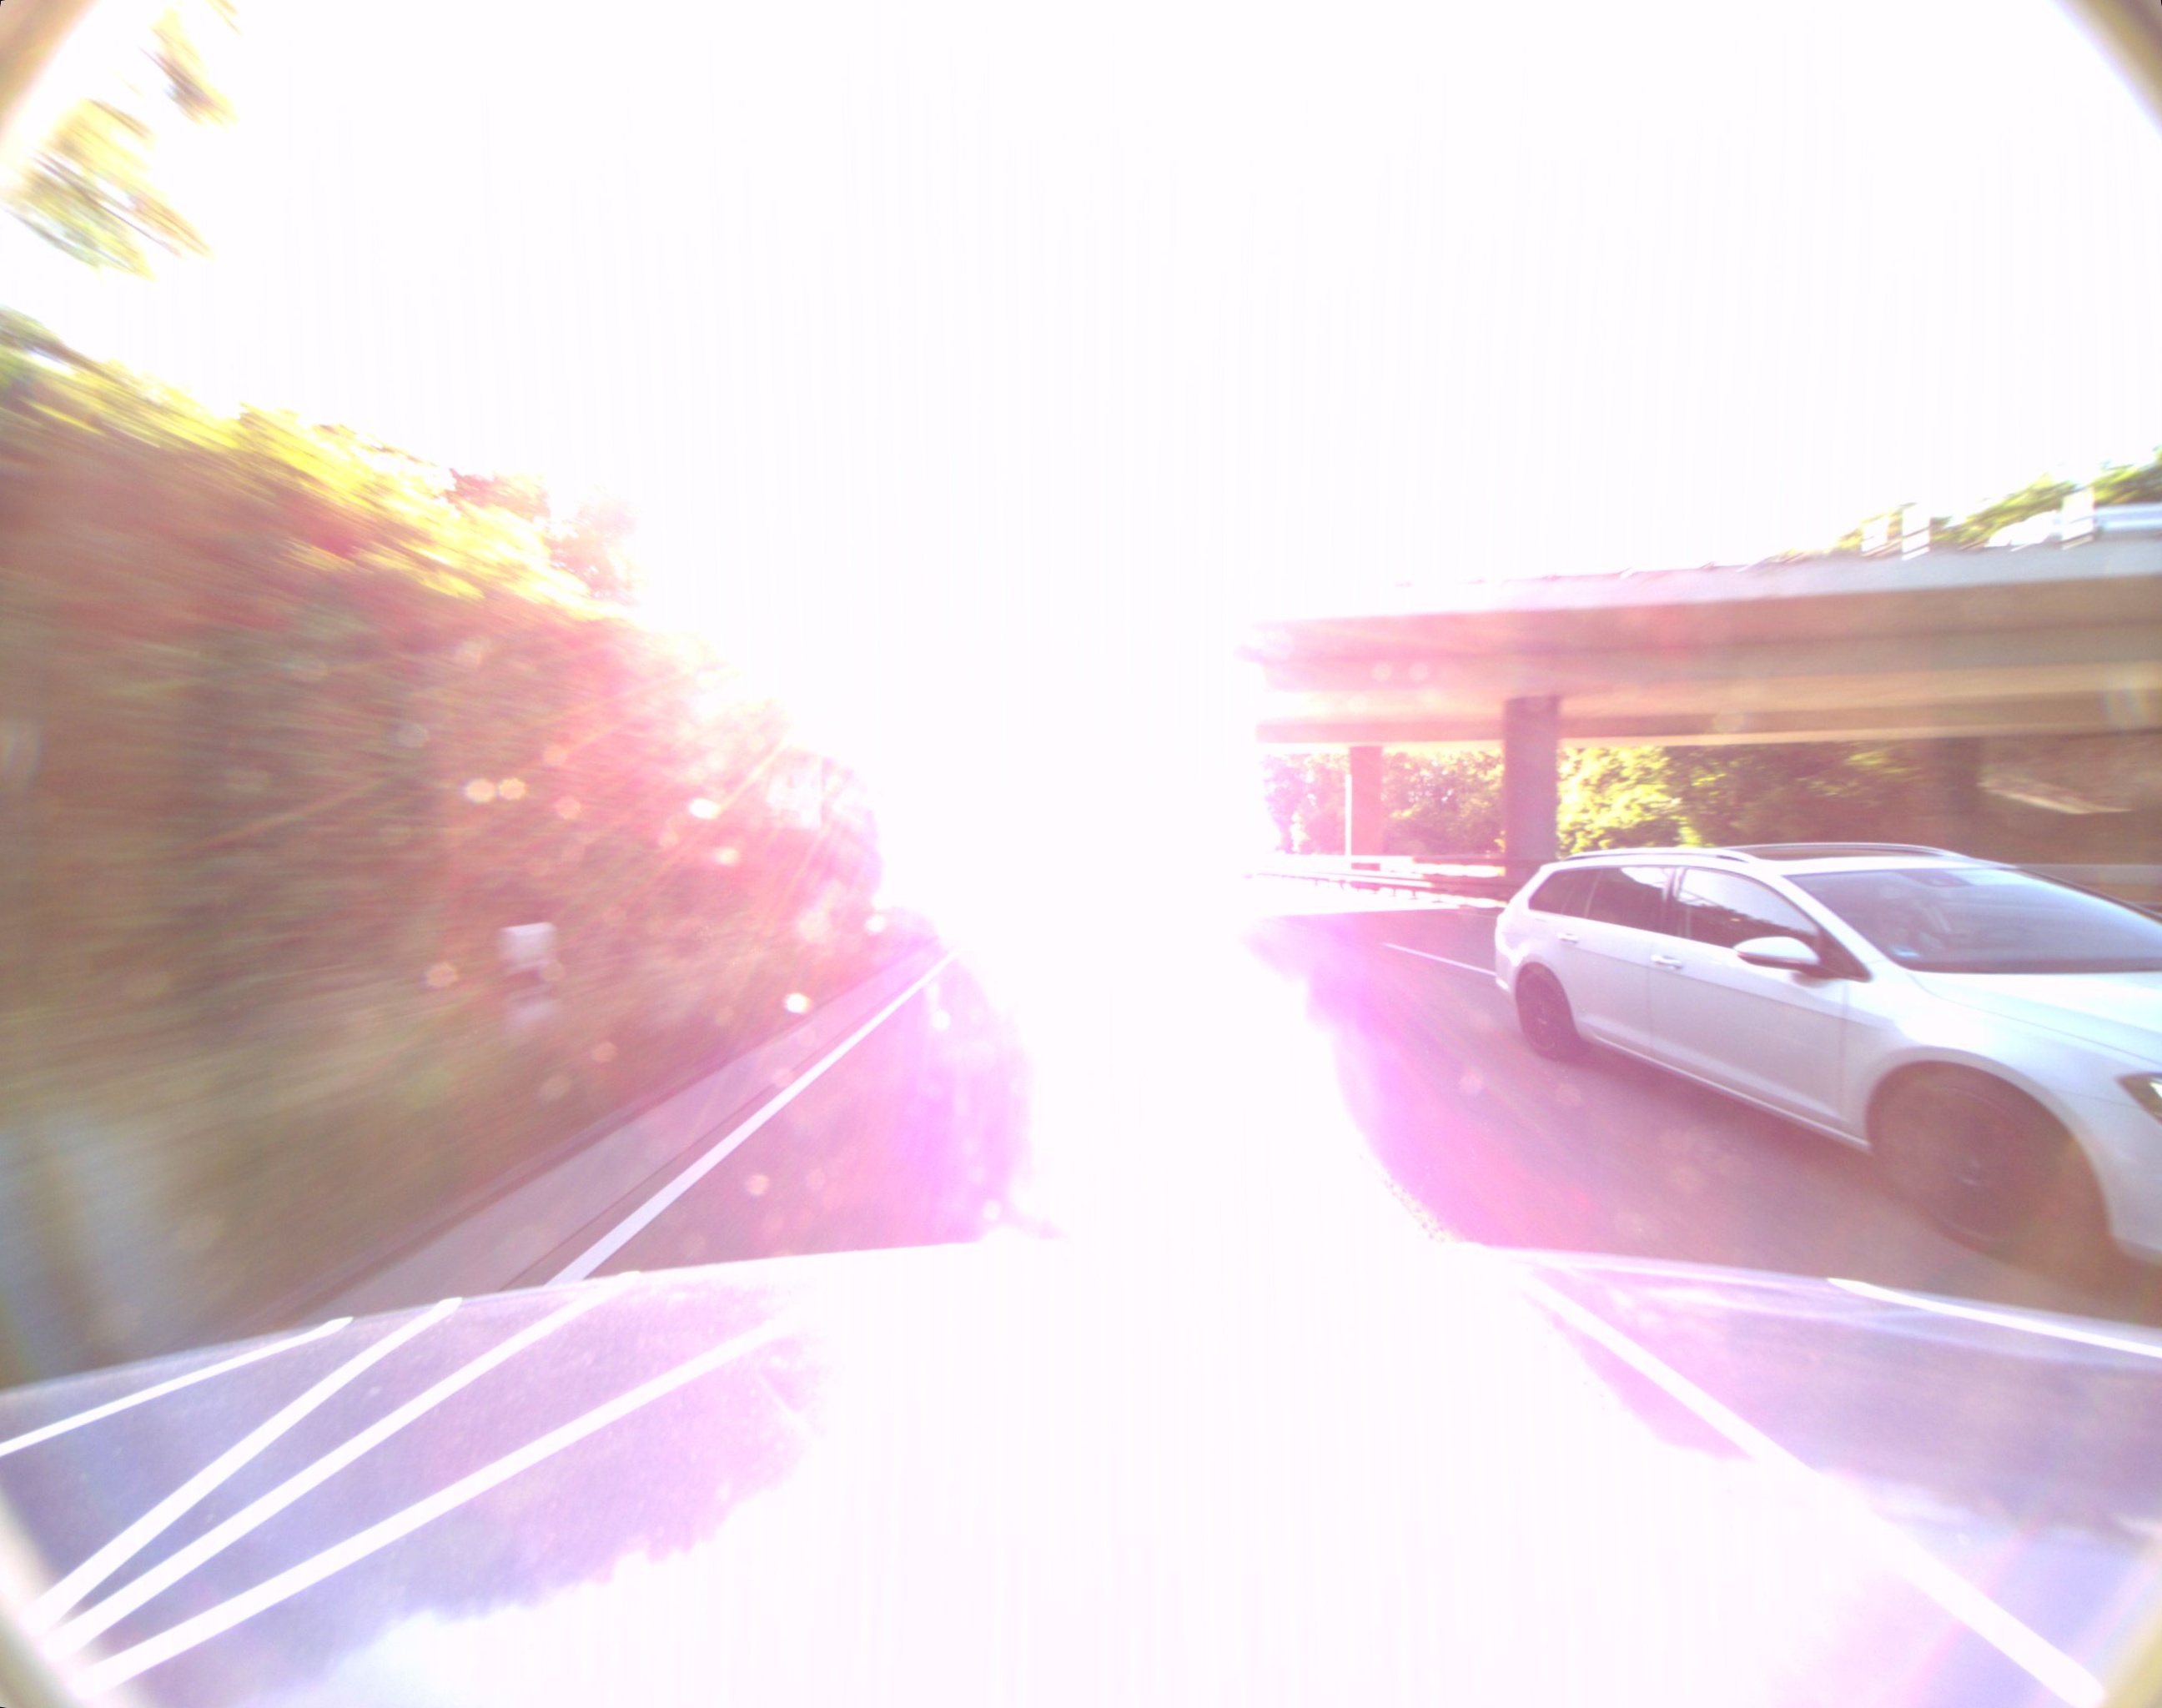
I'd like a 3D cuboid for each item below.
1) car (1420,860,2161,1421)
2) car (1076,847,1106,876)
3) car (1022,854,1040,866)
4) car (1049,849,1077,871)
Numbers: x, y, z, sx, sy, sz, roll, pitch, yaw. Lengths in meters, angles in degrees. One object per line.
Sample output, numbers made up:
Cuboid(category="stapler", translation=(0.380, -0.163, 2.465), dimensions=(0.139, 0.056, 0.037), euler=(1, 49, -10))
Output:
Cuboid(category="car", translation=(4.091, 0.847, 4.267), dimensions=(1.934, 1.499, 5.599), euler=(-2, 0, 1))
Cuboid(category="car", translation=(0.638, 0.453, 52.252), dimensions=(1.800, 1.797, 4.831), euler=(-2, 1, -2))
Cuboid(category="car", translation=(-7.237, 0.860, 109.047), dimensions=(1.936, 1.499, 5.080), euler=(-1, 1, -10))
Cuboid(category="car", translation=(-1.850, 0.580, 76.081), dimensions=(2.258, 1.843, 5.136), euler=(-2, 3, -7))
